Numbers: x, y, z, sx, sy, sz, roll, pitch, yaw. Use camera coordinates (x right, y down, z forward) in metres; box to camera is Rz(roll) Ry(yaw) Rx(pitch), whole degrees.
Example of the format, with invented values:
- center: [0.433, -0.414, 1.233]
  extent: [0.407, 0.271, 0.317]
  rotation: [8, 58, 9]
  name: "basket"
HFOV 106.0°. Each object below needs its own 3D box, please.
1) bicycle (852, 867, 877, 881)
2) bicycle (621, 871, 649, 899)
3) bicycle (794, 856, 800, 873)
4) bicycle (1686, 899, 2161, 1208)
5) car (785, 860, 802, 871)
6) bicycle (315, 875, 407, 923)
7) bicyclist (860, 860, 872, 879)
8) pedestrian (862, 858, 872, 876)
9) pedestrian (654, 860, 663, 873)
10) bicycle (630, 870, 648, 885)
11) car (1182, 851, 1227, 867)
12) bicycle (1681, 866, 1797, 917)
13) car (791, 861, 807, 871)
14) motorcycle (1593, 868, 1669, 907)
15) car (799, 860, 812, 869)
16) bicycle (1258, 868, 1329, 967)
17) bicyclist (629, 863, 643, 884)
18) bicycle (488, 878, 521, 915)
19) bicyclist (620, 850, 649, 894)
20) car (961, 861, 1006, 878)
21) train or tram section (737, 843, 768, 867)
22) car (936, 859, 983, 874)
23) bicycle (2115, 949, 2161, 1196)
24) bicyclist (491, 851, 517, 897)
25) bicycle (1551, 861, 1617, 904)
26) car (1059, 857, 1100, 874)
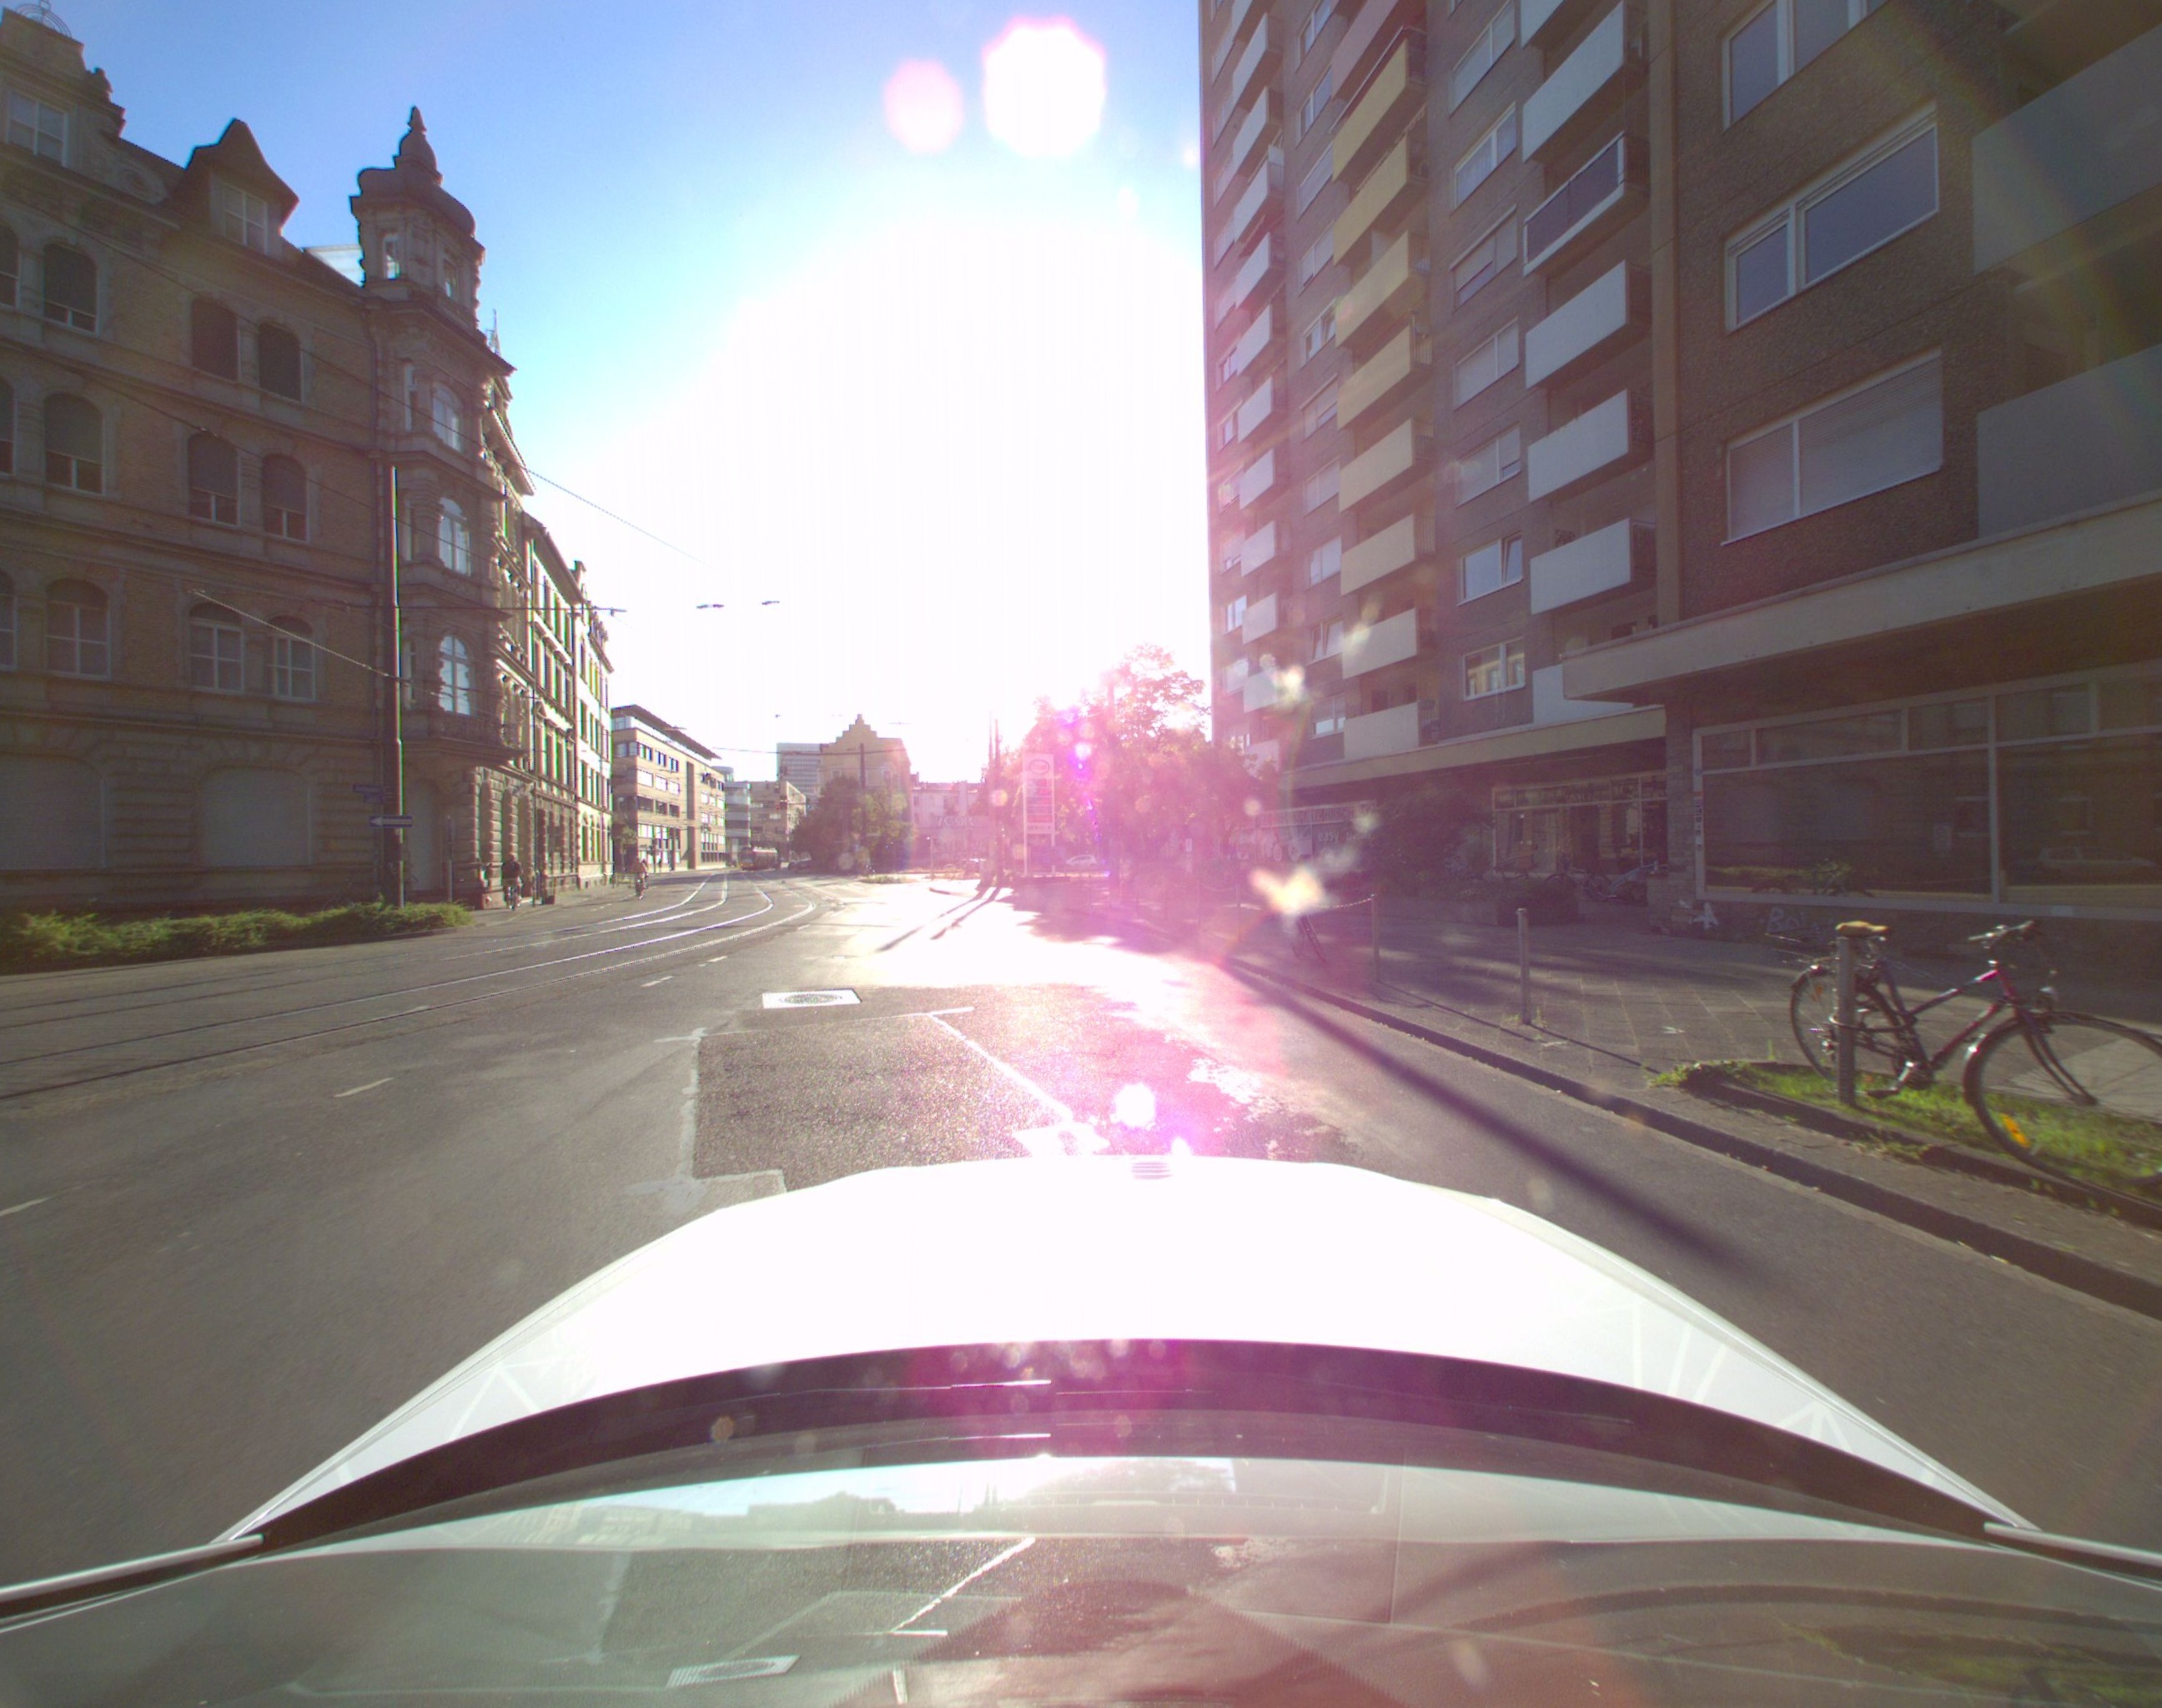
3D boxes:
- center: [-16.612, 1.515, 62.450]
  extent: [1.838, 0.984, 0.729]
  rotation: [-1, -1, -19]
  name: "bicycle"
- center: [-19.837, 1.357, 36.263]
  extent: [0.886, 1.156, 2.306]
  rotation: [-1, -1, -24]
  name: "bicycle"
- center: [-31.397, 1.154, 89.893]
  extent: [0.567, 1.806, 1.349]
  rotation: [-1, -1, -21]
  name: "bicycle"
- center: [4.021, 0.793, 4.038]
  extent: [0.635, 1.022, 2.091]
  rotation: [-1, 0, 6]
  name: "bicycle"
- center: [-42.519, 1.689, 120.571]
  extent: [1.997, 1.464, 3.979]
  rotation: [-1, 0, -15]
  name: "car"
- center: [-19.557, 1.195, 22.167]
  extent: [0.496, 1.206, 1.803]
  rotation: [2, 1, 32]
  name: "bicycle"
- center: [-16.502, 1.172, 62.541]
  extent: [0.806, 1.413, 0.620]
  rotation: [-1, -1, -18]
  name: "bicyclist"
- center: [-19.606, 1.182, 74.616]
  extent: [0.928, 1.692, 0.773]
  rotation: [-1, -1, -16]
  name: "pedestrian"
- center: [-57.412, 1.681, 110.646]
  extent: [0.807, 1.842, 0.732]
  rotation: [-1, -1, -13]
  name: "pedestrian"
- center: [-32.693, 1.716, 60.242]
  extent: [0.950, 1.097, 1.982]
  rotation: [-1, -1, -24]
  name: "bicycle"
- center: [11.652, 0.496, 77.136]
  extent: [3.978, 1.453, 1.685]
  rotation: [-1, 0, -4]
  name: "car"
- center: [12.638, 0.698, 15.704]
  extent: [0.644, 0.899, 1.641]
  rotation: [-1, 0, -19]
  name: "bicycle"
- center: [-45.142, 1.892, 130.400]
  extent: [1.997, 1.486, 3.979]
  rotation: [-1, 0, -15]
  name: "car"
- center: [11.782, 0.696, 17.492]
  extent: [0.433, 0.795, 1.358]
  rotation: [-1, 0, -19]
  name: "motorcycle"
- center: [-49.025, 1.917, 145.036]
  extent: [1.997, 1.486, 3.979]
  rotation: [-1, 0, -15]
  name: "car"
- center: [2.951, 0.830, 11.490]
  extent: [0.635, 1.226, 2.091]
  rotation: [-1, 0, 6]
  name: "bicycle"
- center: [-32.916, 1.467, 60.221]
  extent: [0.847, 1.514, 0.795]
  rotation: [-1, -1, -24]
  name: "bicyclist"
- center: [-19.186, 1.394, 27.152]
  extent: [0.503, 1.133, 2.108]
  rotation: [-1, 0, -25]
  name: "bicycle"
- center: [-19.914, 0.795, 36.327]
  extent: [1.034, 1.891, 1.104]
  rotation: [-1, -1, -24]
  name: "bicyclist"
- center: [-9.078, 1.413, 75.996]
  extent: [3.975, 1.453, 1.809]
  rotation: [-1, -1, -1]
  name: "car"
- center: [-50.721, 0.211, 125.997]
  extent: [2.244, 3.574, 14.209]
  rotation: [-1, 0, -14]
  name: "train or tram section"
- center: [-12.557, 1.259, 84.044]
  extent: [4.456, 1.487, 1.782]
  rotation: [-1, 0, 3]
  name: "car"
- center: [4.449, 0.818, 2.361]
  extent: [0.542, 0.904, 1.729]
  rotation: [-1, 0, -11]
  name: "bicycle"
- center: [-19.224, 0.655, 27.148]
  extent: [0.595, 1.491, 0.696]
  rotation: [-1, -1, -26]
  name: "bicyclist"
- center: [11.698, 0.645, 18.981]
  extent: [0.433, 0.942, 1.316]
  rotation: [-1, 0, -19]
  name: "bicycle"
- center: [-0.201, 1.128, 80.351]
  extent: [3.976, 1.507, 1.671]
  rotation: [-1, -1, -2]
  name: "car"
